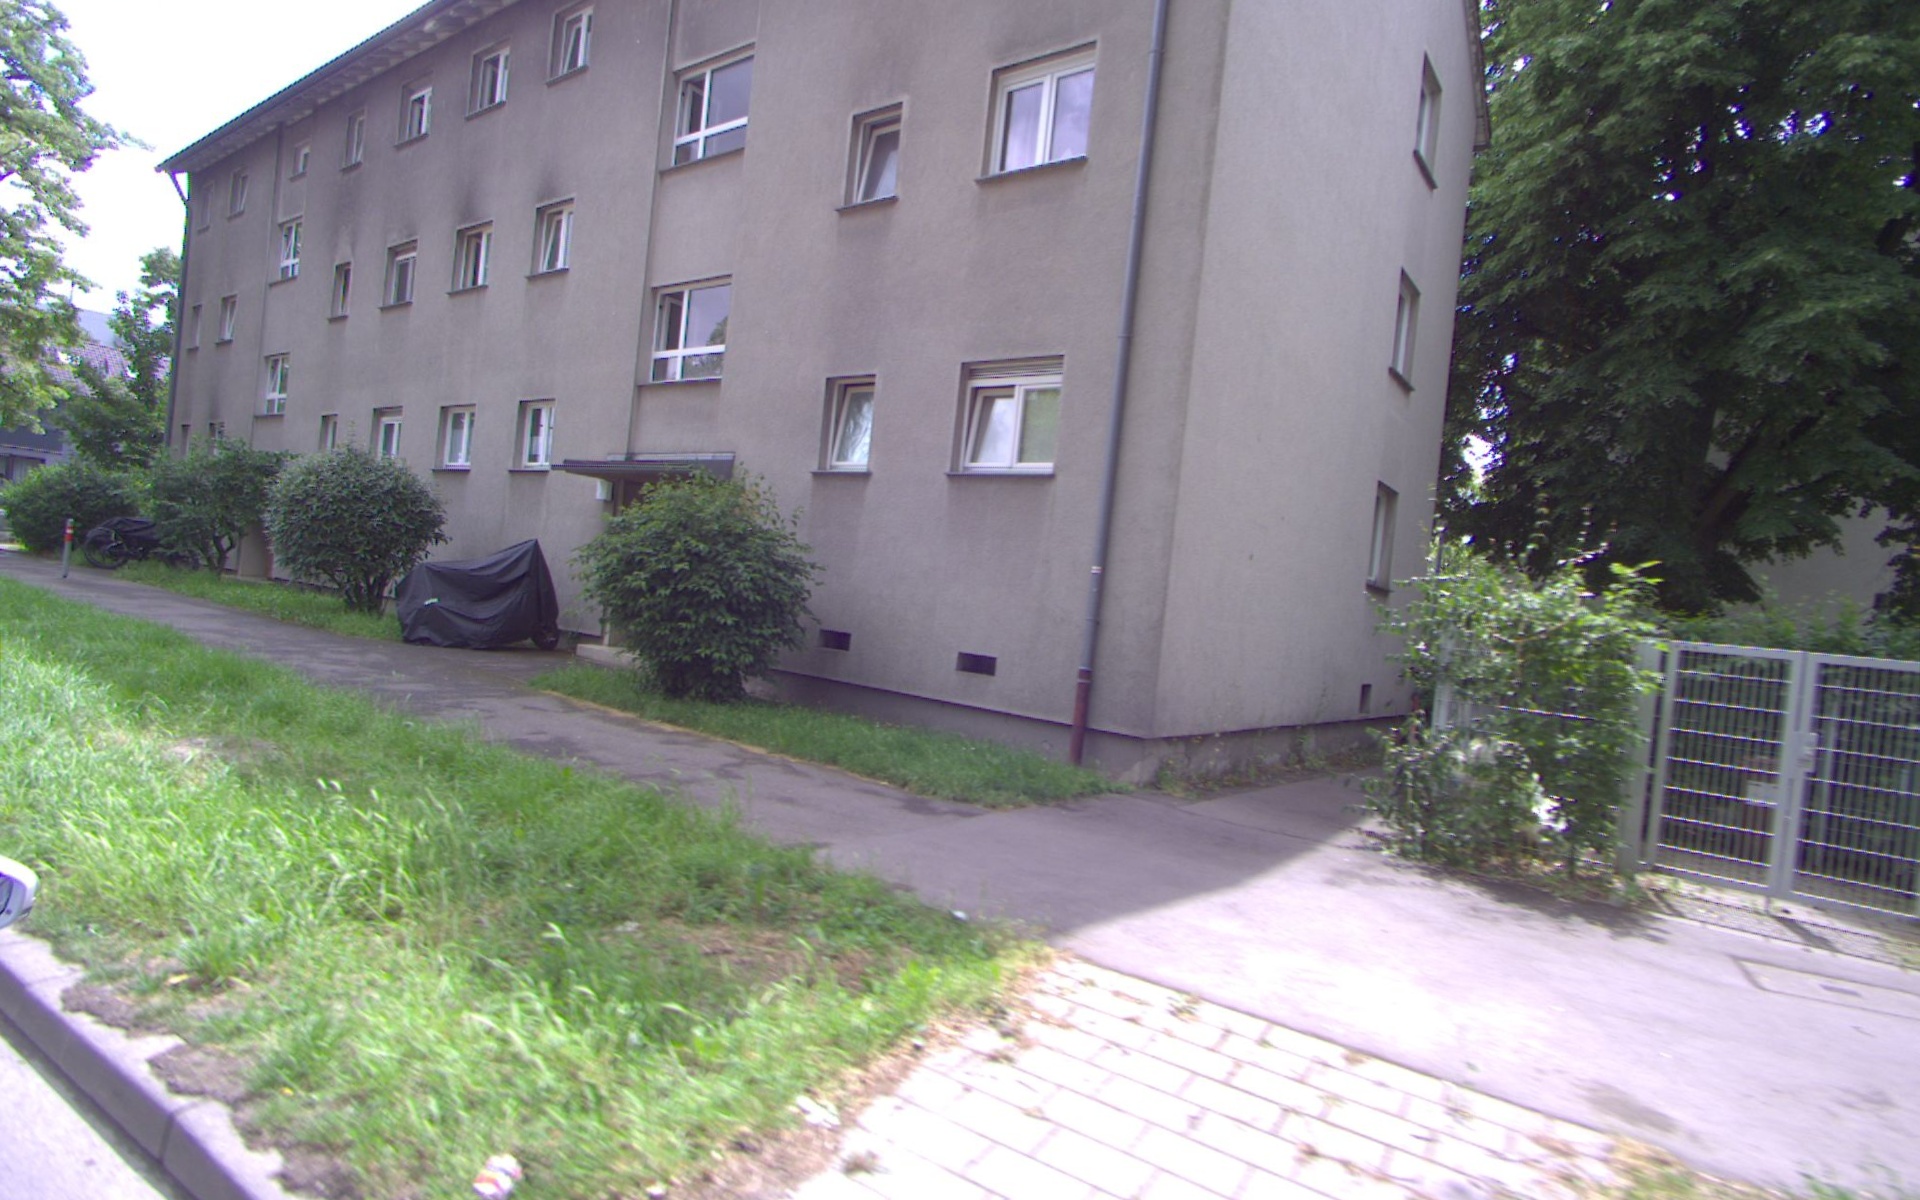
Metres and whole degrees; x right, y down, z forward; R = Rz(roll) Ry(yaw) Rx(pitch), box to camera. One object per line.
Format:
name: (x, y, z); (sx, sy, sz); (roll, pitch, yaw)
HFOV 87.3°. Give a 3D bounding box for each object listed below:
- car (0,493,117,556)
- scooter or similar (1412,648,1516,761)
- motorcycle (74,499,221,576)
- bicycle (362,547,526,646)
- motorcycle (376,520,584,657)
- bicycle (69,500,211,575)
car: (-29.783, -2.502, 32.034); (1.904, 1.572, 3.999); (7, -1, 24)
scooter or similar: (7.701, 1.553, 15.459); (0.568, 1.567, 1.810); (7, -1, 2)
motorcycle: (-16.730, -1.272, 20.781); (0.671, 1.298, 2.202); (6, 0, 40)
bicycle: (-6.633, -0.017, 13.018); (0.448, 1.098, 1.797); (8, 1, 36)
motorcycle: (-5.907, -0.115, 12.471); (1.003, 1.447, 1.993); (8, 1, 42)
bicycle: (-17.266, -1.293, 21.239); (0.671, 1.298, 2.164); (6, 0, 40)
